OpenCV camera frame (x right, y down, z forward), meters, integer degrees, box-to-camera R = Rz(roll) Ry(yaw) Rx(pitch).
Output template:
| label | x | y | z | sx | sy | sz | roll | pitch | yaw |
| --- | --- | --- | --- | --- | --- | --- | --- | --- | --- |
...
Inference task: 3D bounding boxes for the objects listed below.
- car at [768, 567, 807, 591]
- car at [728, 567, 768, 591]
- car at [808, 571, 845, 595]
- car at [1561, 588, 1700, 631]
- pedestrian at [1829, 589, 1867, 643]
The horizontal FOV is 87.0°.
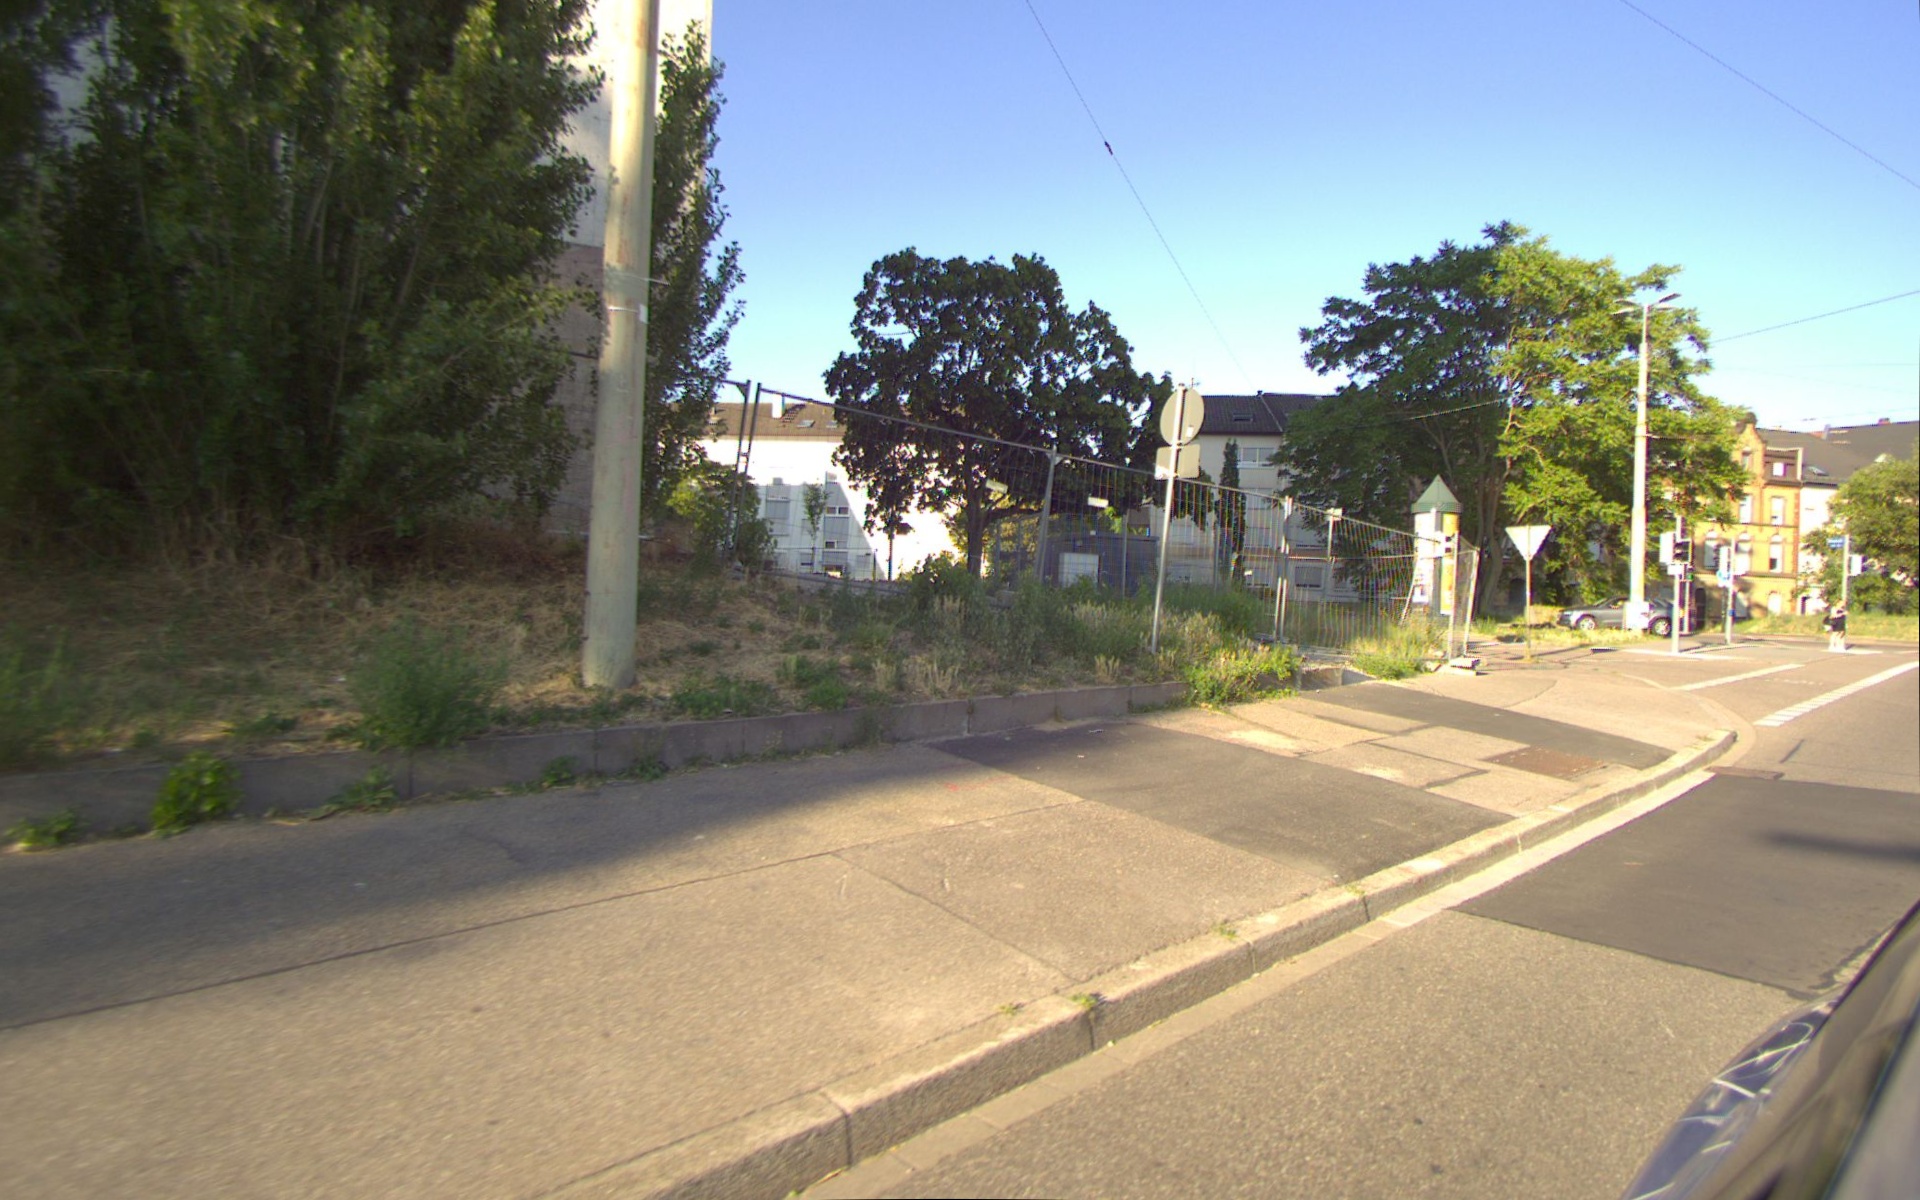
| label | x | y | z | sx | sy | sz | roll | pitch | yaw |
| --- | --- | --- | --- | --- | --- | --- | --- | --- | --- |
| car | -11.230 | -1.363 | 66.155 | 1.674 | 1.469 | 4.331 | 1 | 1 | 1 |
| car | -13.911 | -1.394 | 66.594 | 1.674 | 1.469 | 4.331 | 1 | 1 | 1 |
| car | -8.620 | -1.106 | 65.678 | 1.674 | 1.469 | 4.331 | 1 | 1 | 1 |
| car | 26.820 | 0.347 | 40.623 | 4.279 | 1.567 | 1.808 | 2 | 1 | 20 |
| pedestrian | 26.692 | 0.475 | 30.424 | 0.535 | 1.615 | 0.595 | 1 | 1 | -6 |
